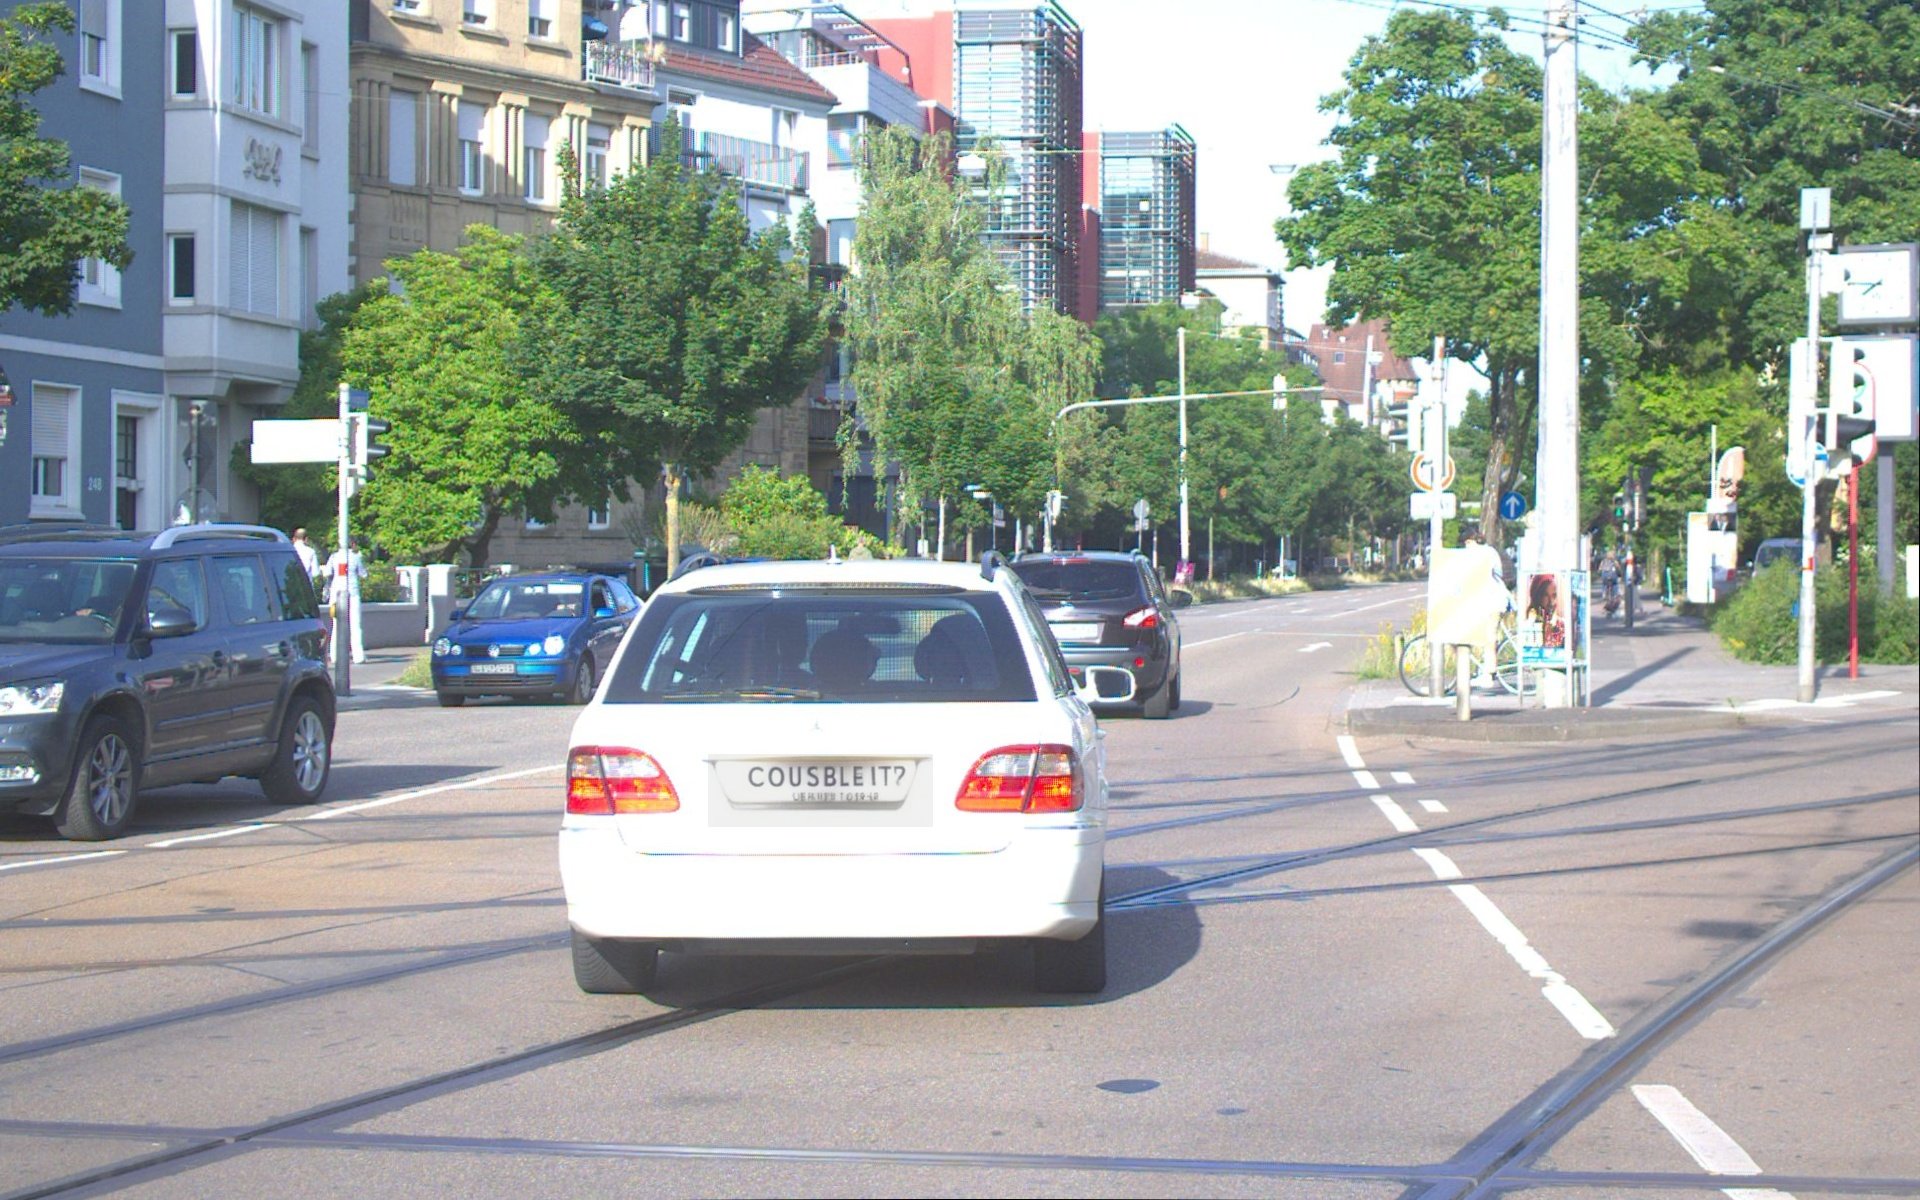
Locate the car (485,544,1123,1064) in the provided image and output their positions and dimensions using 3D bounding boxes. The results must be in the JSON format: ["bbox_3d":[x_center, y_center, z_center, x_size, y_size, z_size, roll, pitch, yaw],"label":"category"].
[{"bbox_3d":[-0.391,0.593,12.359,1.835,1.496,3.815,2,1,4],"label":"car"}]

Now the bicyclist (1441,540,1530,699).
[{"bbox_3d":[5.684,0.205,37.224,0.899,1.693,0.732,-1,1,6],"label":"bicyclist"}]

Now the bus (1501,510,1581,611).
[{"bbox_3d":[15.522,-1.030,92.026,1.798,2.546,3.999,3,0,7],"label":"bus"}]

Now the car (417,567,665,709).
[{"bbox_3d":[-4.579,0.381,38.110,1.690,1.436,3.999,1,1,9],"label":"car"}]

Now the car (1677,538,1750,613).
[{"bbox_3d":[19.388,-0.628,88.461,1.747,1.867,3.998,1,1,12],"label":"car"}]

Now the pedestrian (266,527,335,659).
[{"bbox_3d":[-8.808,-0.097,45.936,0.638,1.745,0.911,1,1,8],"label":"pedestrian"}]

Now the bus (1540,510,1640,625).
[{"bbox_3d":[13.978,-0.705,76.481,1.798,2.404,3.999,3,0,6],"label":"bus"}]

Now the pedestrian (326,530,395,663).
[{"bbox_3d":[-8.000,-0.053,45.869,0.638,1.745,0.911,1,1,8],"label":"pedestrian"}]

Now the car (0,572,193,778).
[{"bbox_3d":[-7.190,0.501,24.897,1.689,1.415,3.998,1,0,12],"label":"car"}]

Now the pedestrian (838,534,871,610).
[{"bbox_3d":[-2.453,-0.653,79.927,0.638,1.745,0.607,1,1,9],"label":"pedestrian"}]

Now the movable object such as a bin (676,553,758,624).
[{"bbox_3d":[-4.951,-0.243,70.084,1.603,1.416,1.084,1,1,-1],"label":"movable object such as a bin"}]

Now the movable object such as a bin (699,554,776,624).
[{"bbox_3d":[-4.612,-0.232,71.264,1.533,1.416,1.084,1,1,-1],"label":"movable object such as a bin"}]

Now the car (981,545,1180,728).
[{"bbox_3d":[1.216,0.308,33.068,1.642,1.594,3.814,2,1,5],"label":"car"}]

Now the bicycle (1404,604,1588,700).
[{"bbox_3d":[5.790,0.561,37.222,1.914,0.991,0.726,-1,1,6],"label":"bicycle"}]

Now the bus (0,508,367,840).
[{"bbox_3d":[-4.992,0.327,19.113,1.845,1.630,4.157,1,1,13],"label":"bus"}]
